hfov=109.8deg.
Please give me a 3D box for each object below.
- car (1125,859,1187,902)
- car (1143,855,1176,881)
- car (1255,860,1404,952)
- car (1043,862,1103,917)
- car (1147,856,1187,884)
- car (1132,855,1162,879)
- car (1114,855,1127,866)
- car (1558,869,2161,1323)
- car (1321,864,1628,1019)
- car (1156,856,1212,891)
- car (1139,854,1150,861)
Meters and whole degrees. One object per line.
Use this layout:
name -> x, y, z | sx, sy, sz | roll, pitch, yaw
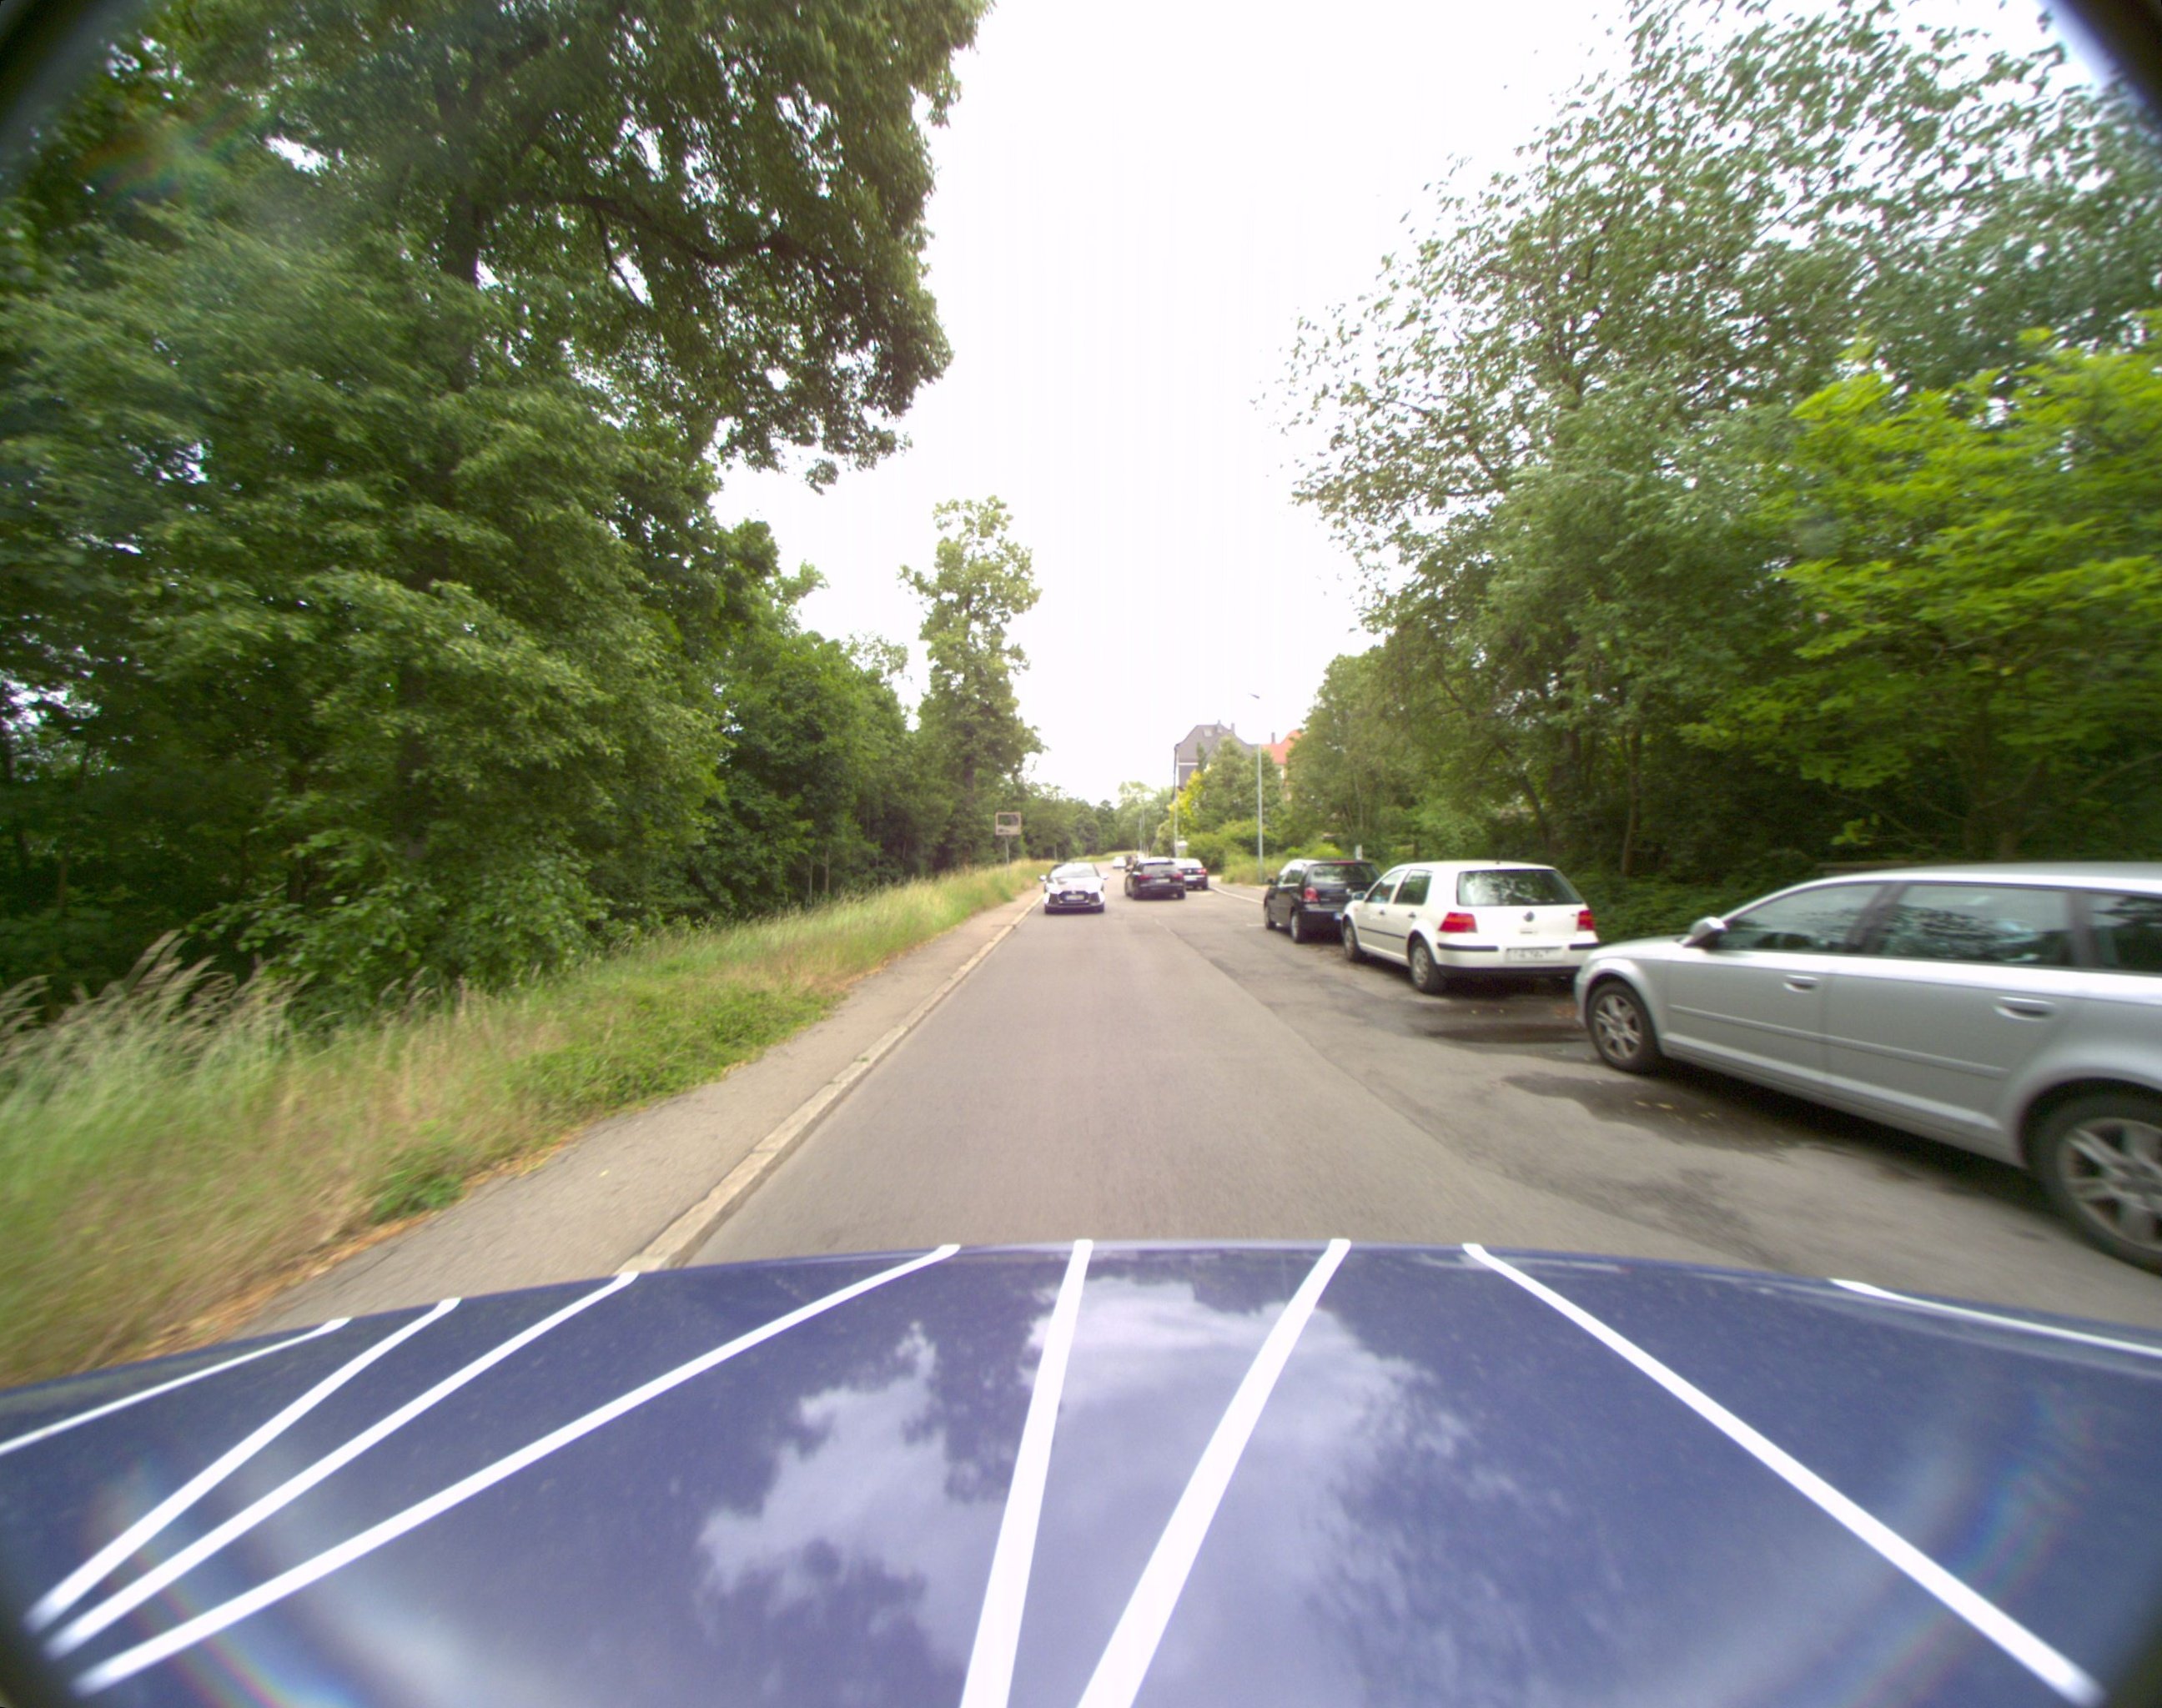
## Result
car -> 2.725, 0.934, 28.418 | 1.785, 1.417, 4.489 | -2, 0, -1
car -> 4.679, 0.793, 45.879 | 1.628, 1.473, 4.000 | 0, 0, 0
car -> 4.477, 0.857, 14.276 | 1.626, 1.441, 3.969 | -1, 0, 2
car -> -0.160, 1.001, 22.767 | 1.619, 1.460, 4.001 | -1, 0, 2
car -> 4.574, 0.827, 40.986 | 1.628, 1.423, 4.350 | 0, 0, -1
car -> 4.419, 0.845, 51.105 | 1.710, 1.473, 4.496 | 0, 0, 1
car -> 5.346, 0.842, 102.998 | 1.646, 1.461, 4.072 | 0, 0, 3
car -> 4.456, 0.851, 3.746 | 1.627, 1.441, 4.093 | -1, 0, 0
car -> 4.500, 0.878, 9.556 | 1.664, 1.444, 4.382 | -1, 0, 1
car -> 4.569, 0.822, 34.497 | 1.783, 1.423, 5.105 | -2, 0, -1
car -> 12.847, 0.669, 154.441 | 1.735, 1.420, 3.460 | 0, 1, 12
